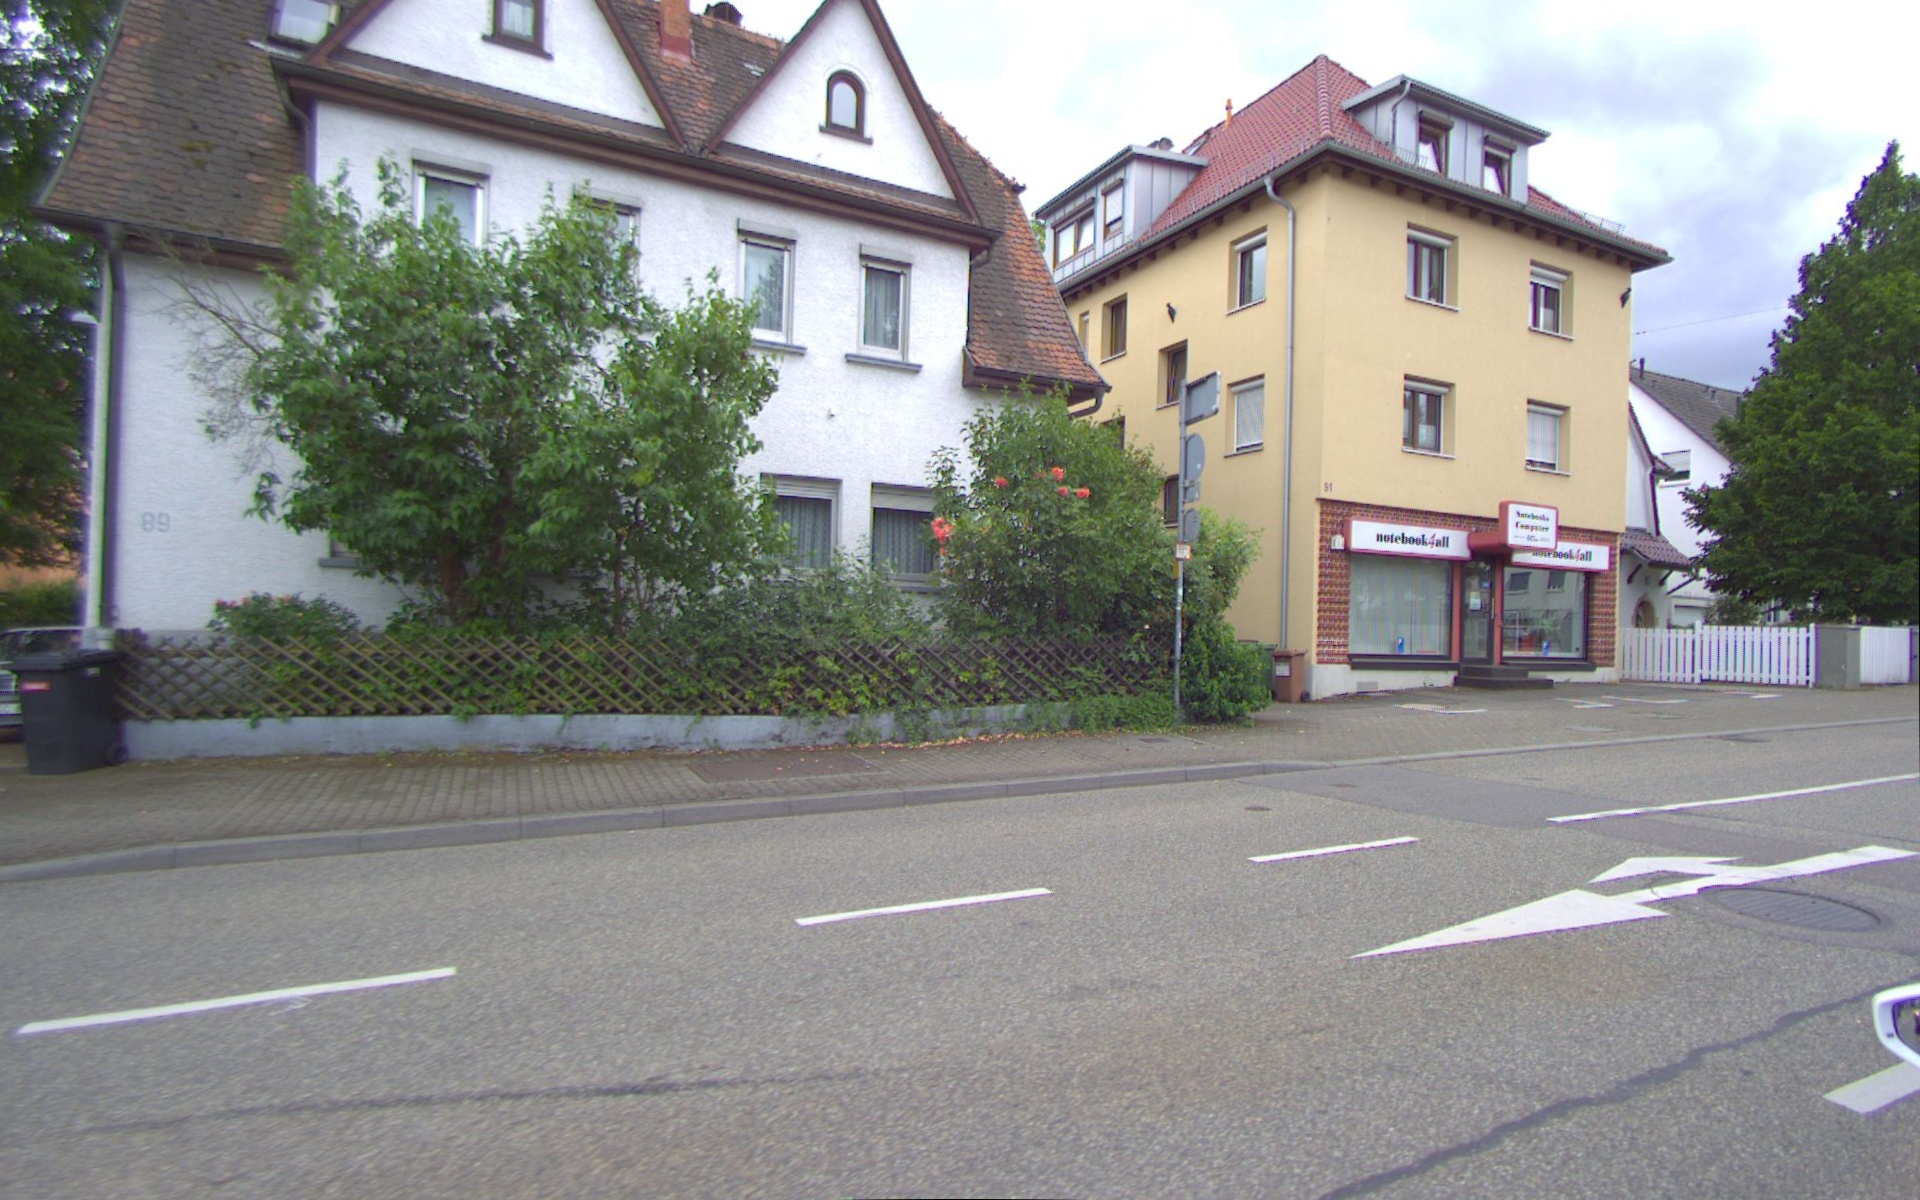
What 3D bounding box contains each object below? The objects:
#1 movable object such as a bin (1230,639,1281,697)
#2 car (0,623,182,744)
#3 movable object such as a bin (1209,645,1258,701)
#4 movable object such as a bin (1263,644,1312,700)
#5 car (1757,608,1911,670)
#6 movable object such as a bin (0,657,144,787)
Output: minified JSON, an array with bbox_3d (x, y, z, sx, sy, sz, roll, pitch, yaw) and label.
[{"bbox_3d":[5.325,1.224,18.133,0.680,1.016,0.552,3,-3,-23],"label":"movable object such as a bin"},{"bbox_3d":[-11.610,1.028,13.007,1.701,1.349,3.972,2,-4,-28],"label":"car"},{"bbox_3d":[5.091,1.351,18.689,0.680,1.016,0.552,3,-3,-23],"label":"movable object such as a bin"},{"bbox_3d":[5.742,1.256,17.600,0.598,0.962,0.552,3,-3,-23],"label":"movable object such as a bin"},{"bbox_3d":[24.092,1.050,27.647,4.564,1.585,1.798,0,-3,-30],"label":"car"},{"bbox_3d":[-7.869,1.054,8.863,0.708,1.033,0.720,0,2,6],"label":"movable object such as a bin"}]
